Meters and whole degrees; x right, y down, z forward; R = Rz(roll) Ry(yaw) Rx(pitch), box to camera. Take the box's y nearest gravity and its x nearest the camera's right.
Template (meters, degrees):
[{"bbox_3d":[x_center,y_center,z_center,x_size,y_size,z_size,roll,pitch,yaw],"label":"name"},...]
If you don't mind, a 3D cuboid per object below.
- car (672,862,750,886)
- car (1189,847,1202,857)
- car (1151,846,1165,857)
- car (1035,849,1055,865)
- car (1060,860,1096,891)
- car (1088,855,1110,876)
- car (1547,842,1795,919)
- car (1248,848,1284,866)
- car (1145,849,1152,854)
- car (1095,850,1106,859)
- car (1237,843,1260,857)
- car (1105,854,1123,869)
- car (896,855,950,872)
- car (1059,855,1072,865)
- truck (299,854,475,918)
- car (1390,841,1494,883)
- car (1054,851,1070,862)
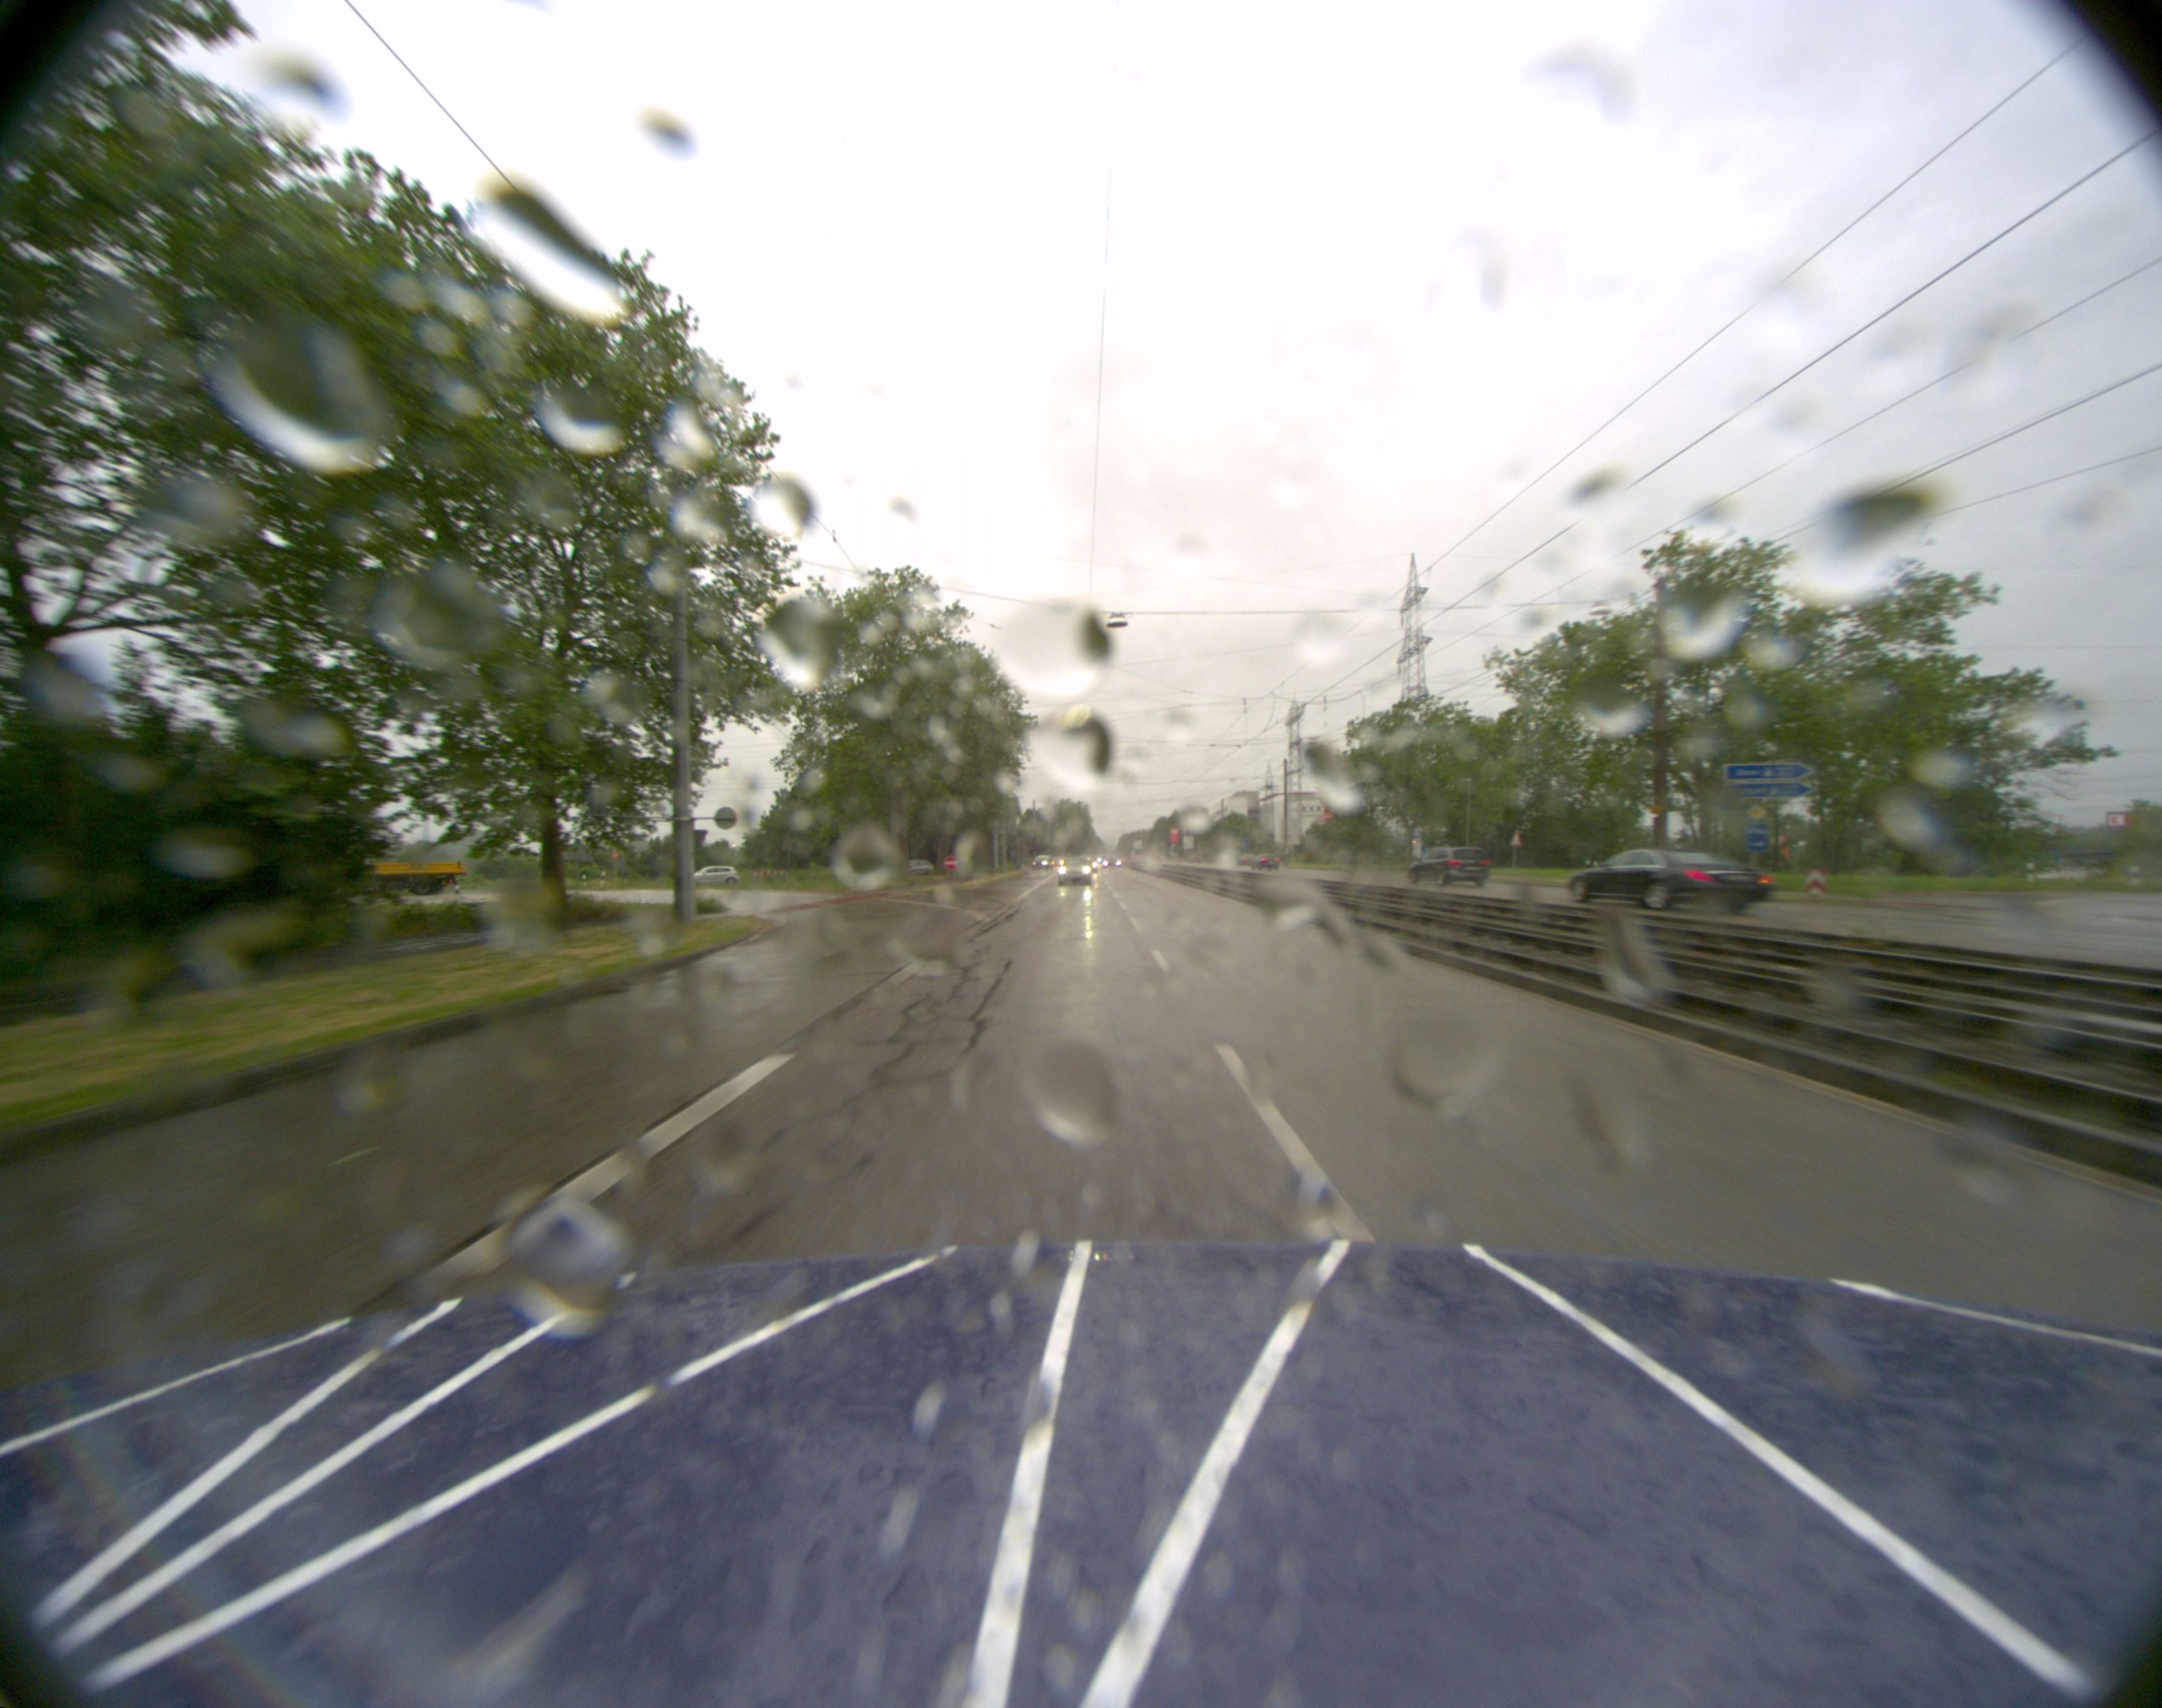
[{"bbox_3d":[-25.842,1.363,53.178,4.614,1.494,1.627,-2,-1,-39],"label":"car"},{"bbox_3d":[19.708,-0.328,130.698,1.693,1.543,4.000,-2,-1,0],"label":"car"},{"bbox_3d":[14.419,-0.443,142.187,1.892,1.798,5.004,-2,-1,-1],"label":"car"},{"bbox_3d":[-4.073,0.387,86.341,1.797,1.692,4.764,-2,-1,2],"label":"car"},{"bbox_3d":[-0.144,1.107,40.364,1.807,1.521,3.645,-2,-1,0],"label":"car"},{"bbox_3d":[1.532,0.946,63.482,1.815,1.692,4.001,-1,-1,2],"label":"car"},{"bbox_3d":[14.322,0.595,19.028,1.780,1.575,5.682,-2,-1,0],"label":"car"},{"bbox_3d":[16.767,0.268,69.151,1.795,1.540,5.313,-2,-1,-1],"label":"car"},{"bbox_3d":[21.593,-0.657,242.775,1.998,1.455,5.253,1,0,4],"label":"car"},{"bbox_3d":[3.307,0.120,128.728,1.807,1.521,3.645,-2,-1,0],"label":"car"},{"bbox_3d":[20.568,-0.476,93.313,1.846,1.676,4.651,-2,-1,1],"label":"car"},{"bbox_3d":[3.703,0.826,85.110,1.807,1.521,3.645,-2,-1,0],"label":"car"},{"bbox_3d":[-13.633,0.796,65.849,1.889,1.349,4.286,-2,-1,38],"label":"car"},{"bbox_3d":[-2.462,0.980,119.798,1.783,1.419,4.001,-1,-1,2],"label":"car"},{"bbox_3d":[-39.528,1.764,43.590,6.939,3.238,2.560,-2,0,-21],"label":"truck"},{"bbox_3d":[16.254,0.357,34.665,1.824,1.695,6.105,-2,-1,1],"label":"car"},{"bbox_3d":[-2.481,0.364,98.884,1.783,1.419,4.001,-1,-1,2],"label":"car"}]
